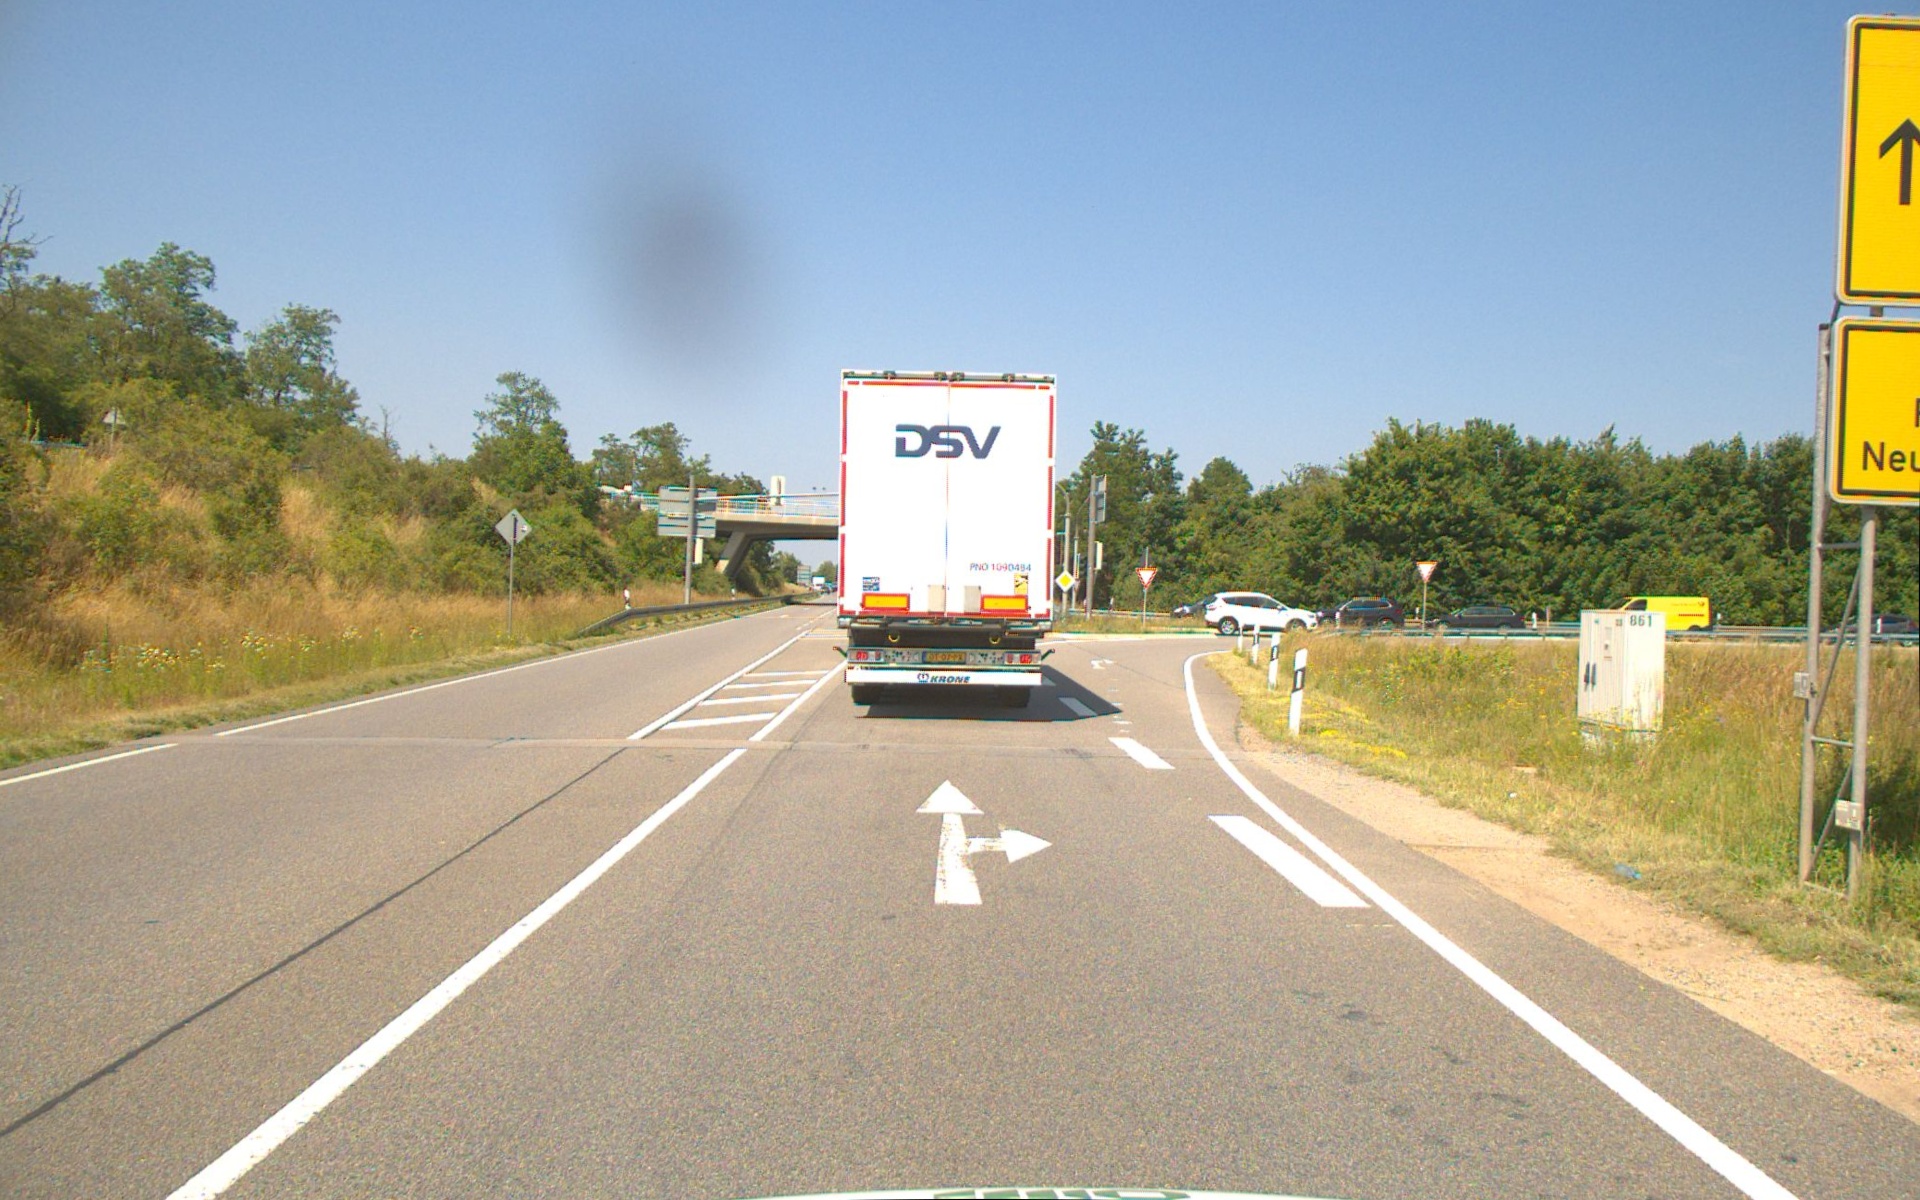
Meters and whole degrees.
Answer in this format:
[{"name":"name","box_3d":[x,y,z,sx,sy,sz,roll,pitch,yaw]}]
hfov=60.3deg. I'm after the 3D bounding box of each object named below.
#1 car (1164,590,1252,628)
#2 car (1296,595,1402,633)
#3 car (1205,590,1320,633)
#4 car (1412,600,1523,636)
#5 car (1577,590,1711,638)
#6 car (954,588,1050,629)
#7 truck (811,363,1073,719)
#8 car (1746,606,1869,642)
[{"name":"car","box_3d":[11.480,0.435,76.602,3.901,1.668,1.842,1,0,5]},{"name":"car","box_3d":[17.520,0.625,74.636,4.393,1.626,1.768,1,0,2]},{"name":"car","box_3d":[11.916,0.464,65.372,4.373,1.594,1.740,1,0,7]},{"name":"car","box_3d":[23.322,0.840,76.096,4.583,1.540,1.854,1,0,6]},{"name":"car","box_3d":[30.732,0.623,74.384,5.213,2.049,2.000,1,0,0]},{"name":"car","box_3d":[1.696,0.342,66.562,3.603,1.594,1.741,1,0,11]},{"name":"truck","box_3d":[-0.302,-0.678,23.824,2.927,4.011,9.873,1,0,-1]},{"name":"car","box_3d":[38.142,1.072,74.539,4.585,1.540,1.853,1,0,1]}]
